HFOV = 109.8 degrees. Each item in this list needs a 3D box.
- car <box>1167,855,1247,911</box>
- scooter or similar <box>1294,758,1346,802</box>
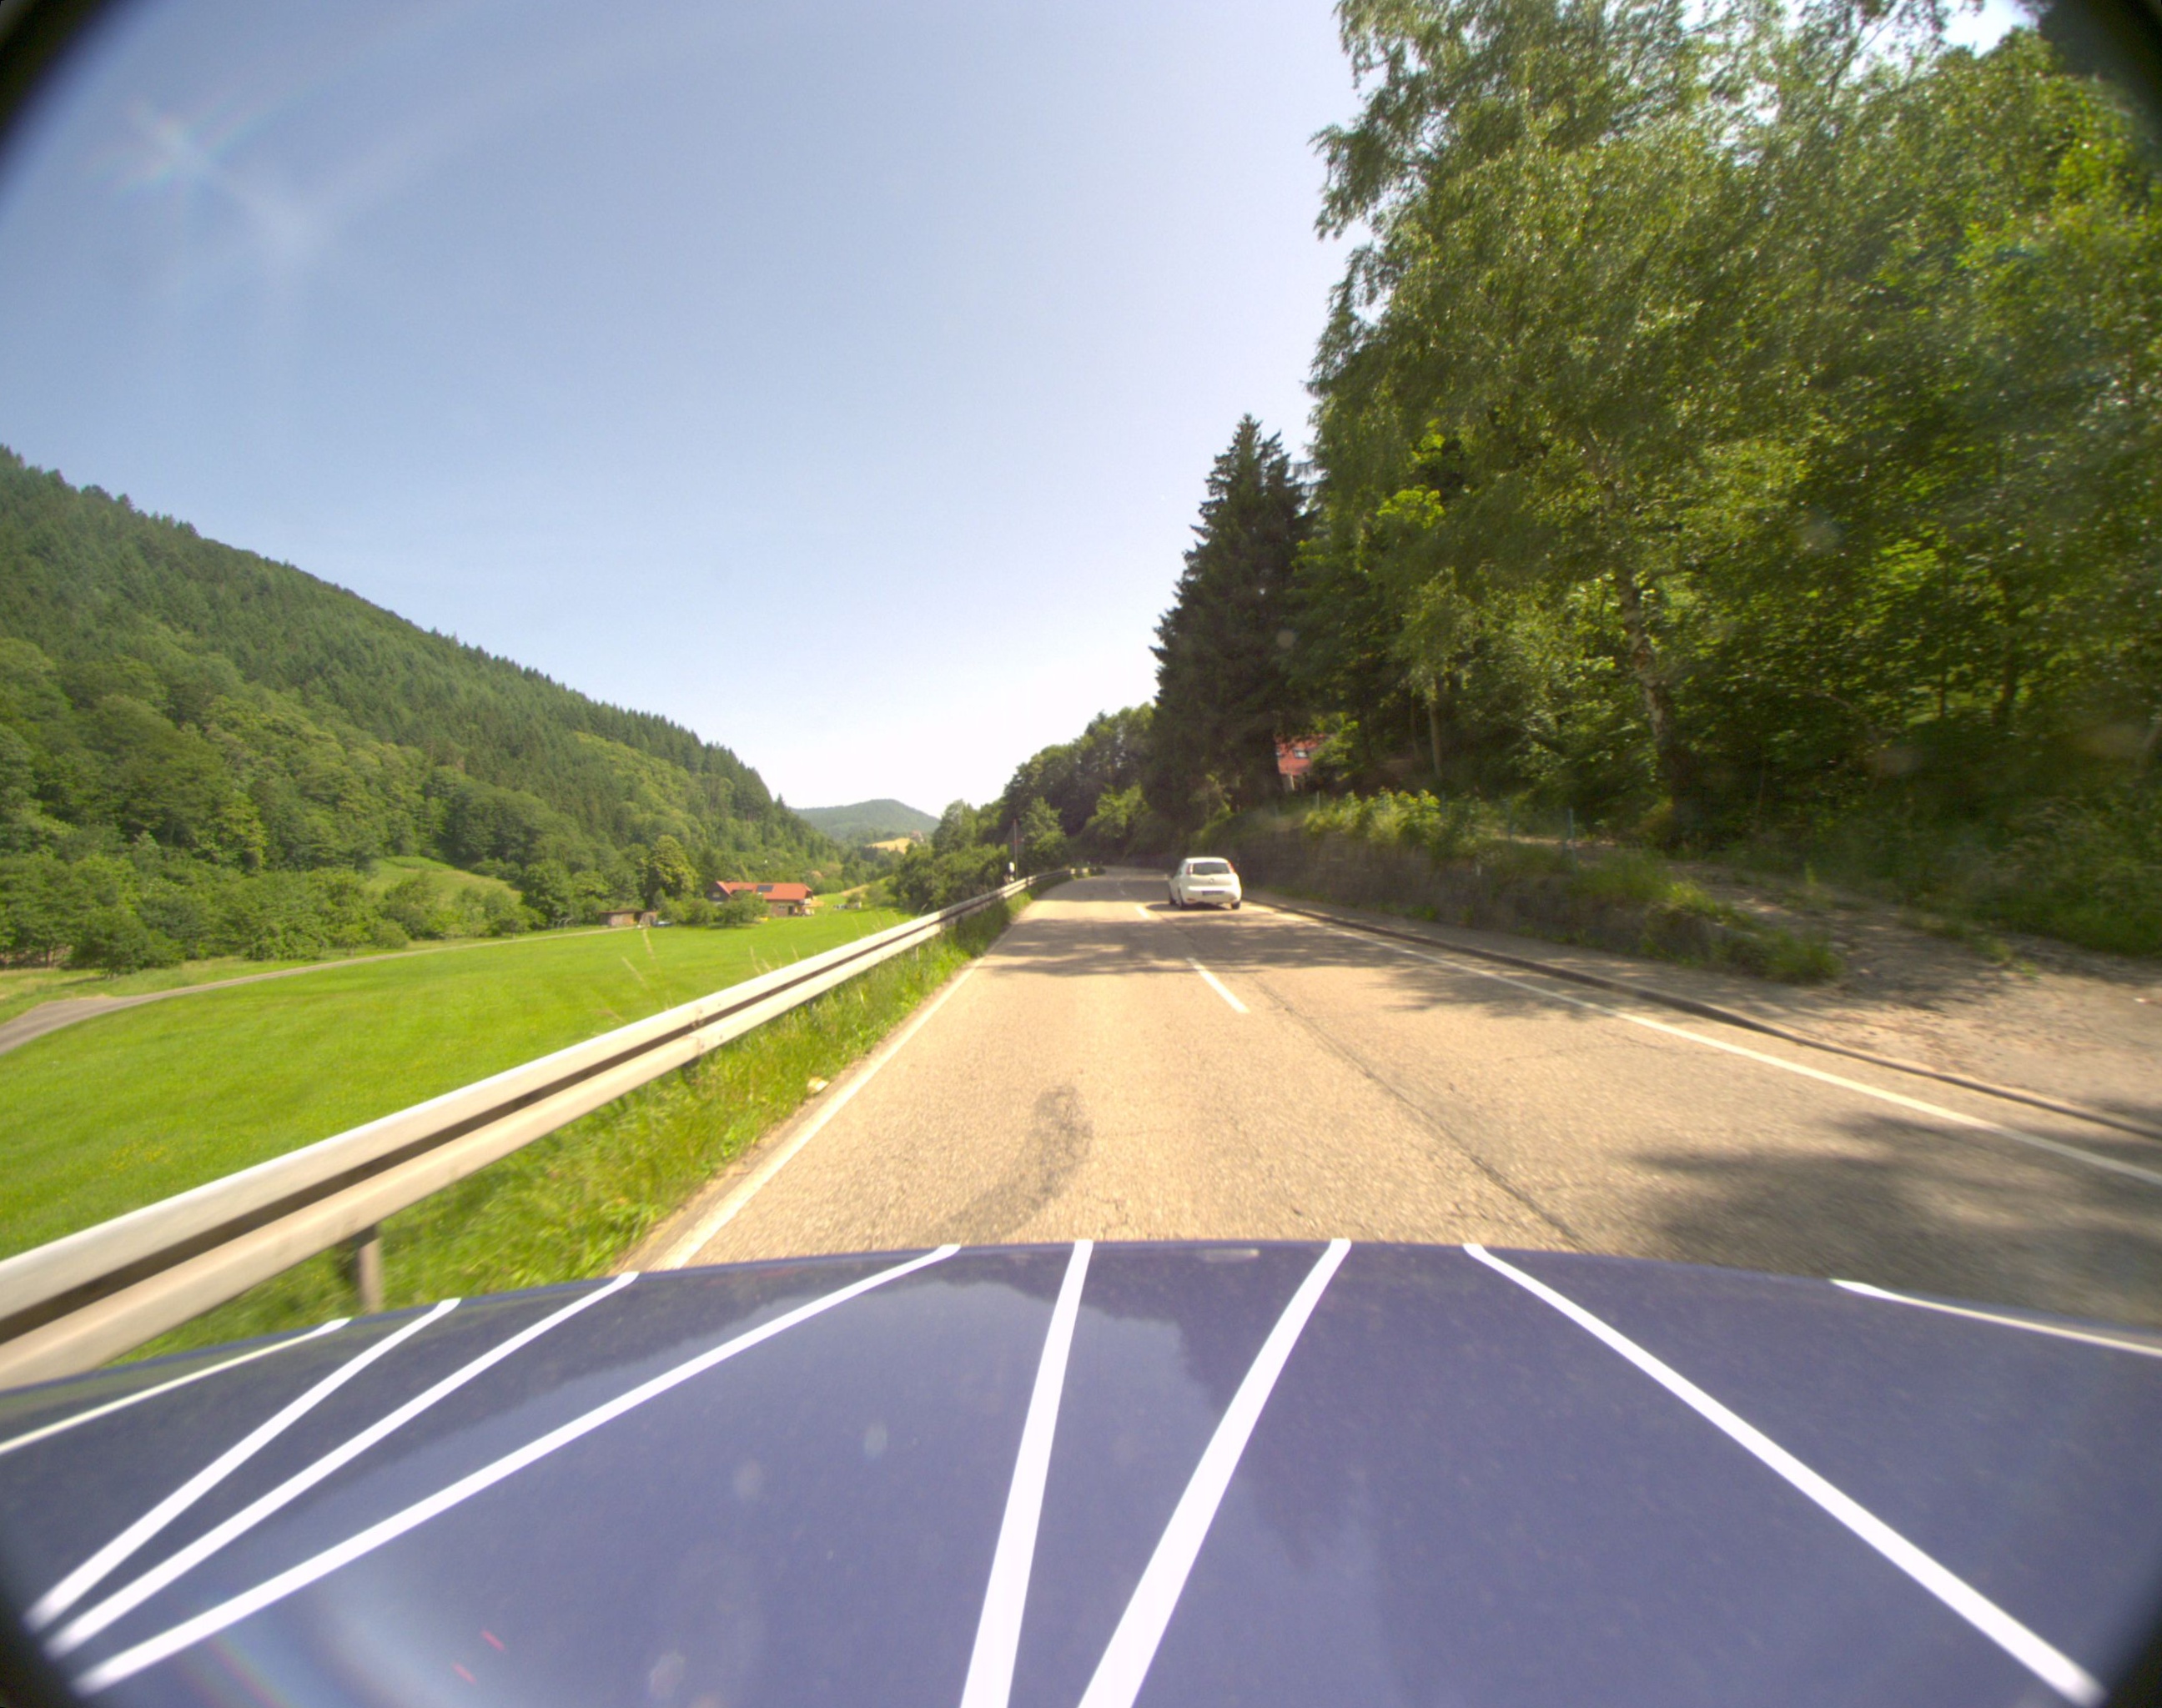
[{"bbox_3d":[3.644,0.793,22.589,1.782,1.429,3.999,0,1,1],"label":"car"},{"bbox_3d":[14.196,-4.361,45.436,1.982,2.015,4.407,-5,0,6],"label":"scooter or similar"}]
